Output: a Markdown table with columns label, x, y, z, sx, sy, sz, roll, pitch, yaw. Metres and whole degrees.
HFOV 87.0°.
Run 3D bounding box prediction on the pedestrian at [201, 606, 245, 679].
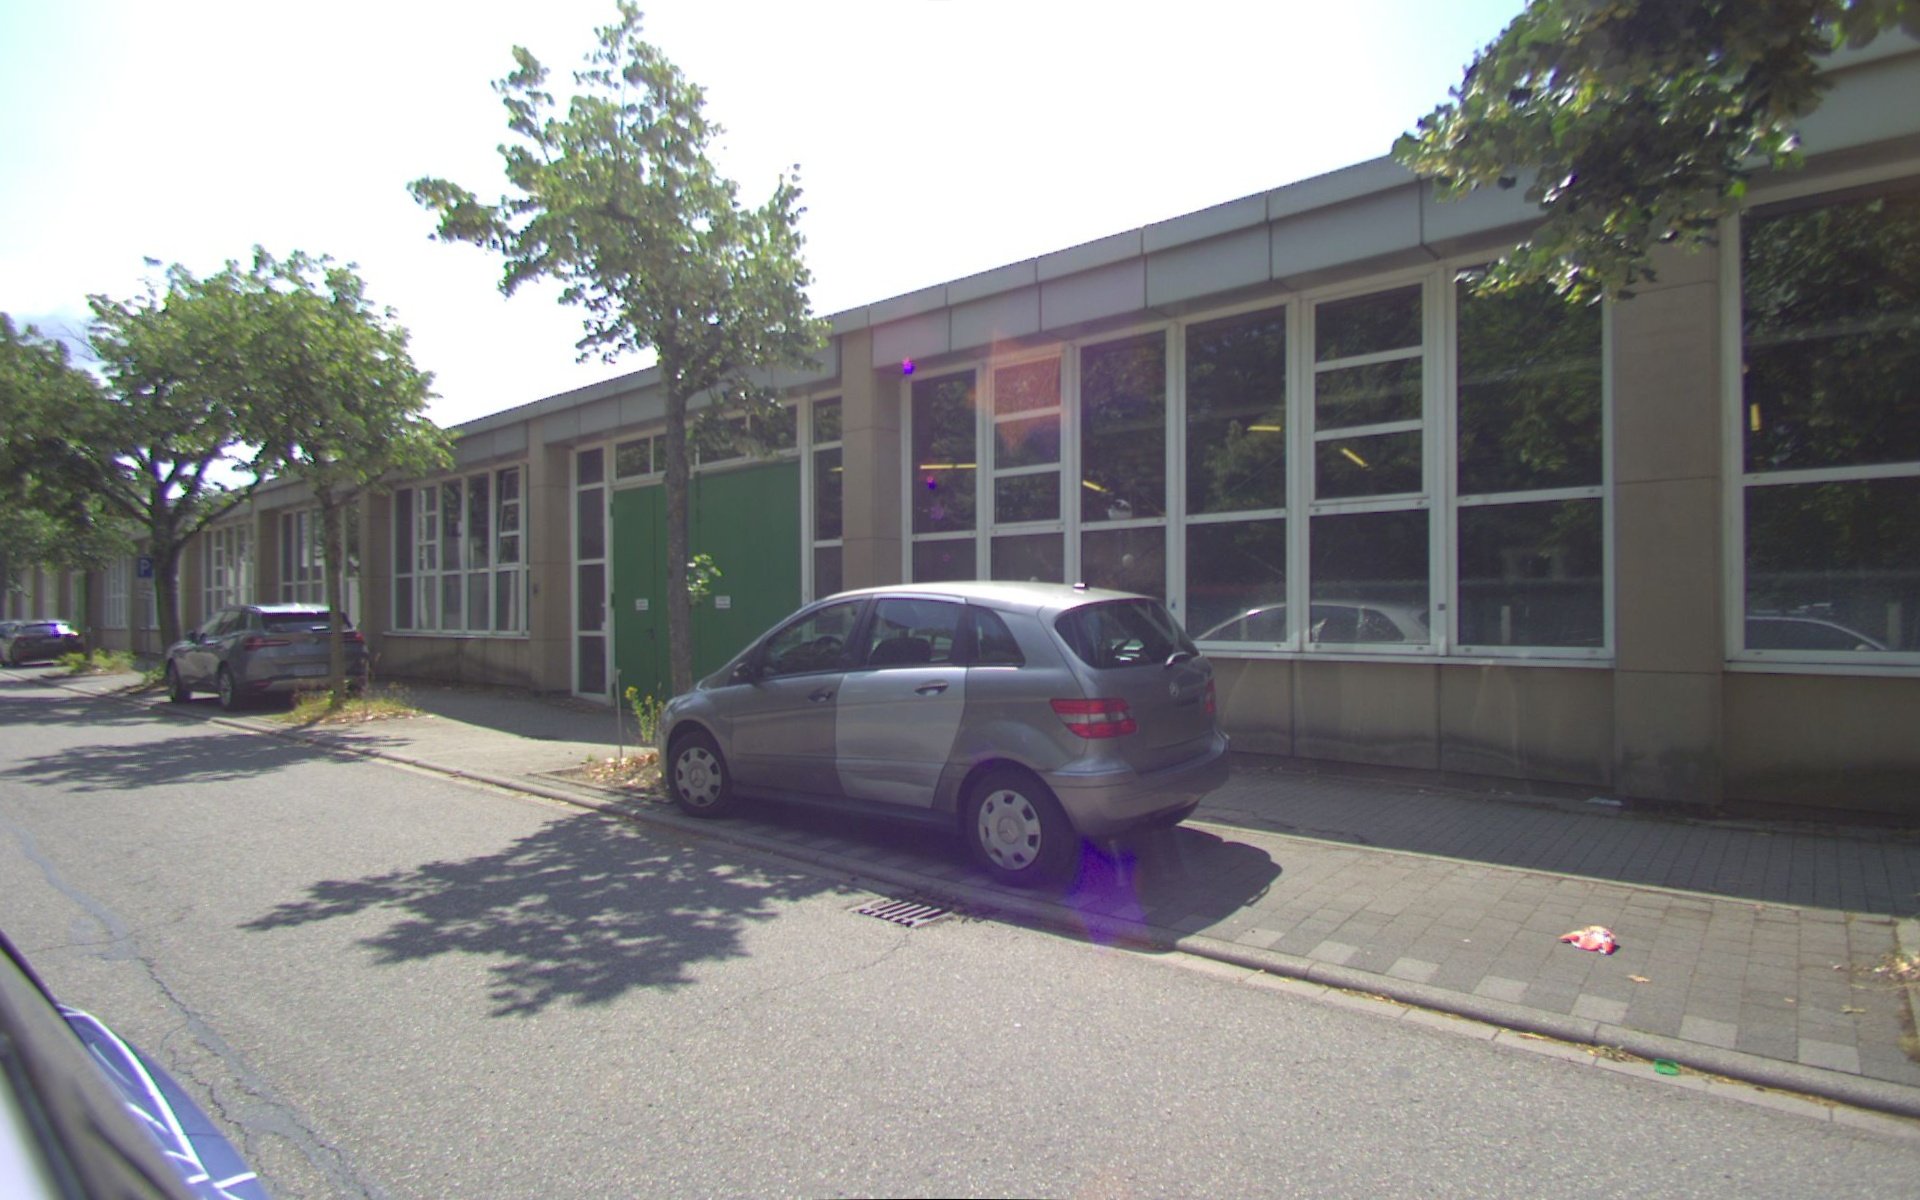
| label | x | y | z | sx | sy | sz | roll | pitch | yaw |
| --- | --- | --- | --- | --- | --- | --- | --- | --- | --- |
| pedestrian | -18.793 | 1.082 | 25.809 | 0.670 | 1.800 | 0.779 | -3 | -1 | 44 |

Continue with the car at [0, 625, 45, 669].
| label | x | y | z | sx | sy | sz | roll | pitch | yaw |
| --- | --- | --- | --- | --- | --- | --- | --- | --- | --- |
| car | -34.061 | 1.661 | 36.061 | 3.749 | 1.460 | 1.613 | -1 | 1 | 40 |

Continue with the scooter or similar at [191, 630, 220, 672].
| label | x | y | z | sx | sy | sz | roll | pitch | yaw |
| --- | --- | --- | --- | --- | --- | --- | --- | --- | --- |
| scooter or similar | -22.218 | 1.499 | 29.806 | 1.245 | 1.216 | 0.379 | -2 | 0 | 40 |

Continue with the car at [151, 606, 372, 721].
| label | x | y | z | sx | sy | sz | roll | pitch | yaw |
| --- | --- | --- | --- | --- | --- | --- | --- | --- | --- |
| car | -11.841 | 0.973 | 17.045 | 4.511 | 1.644 | 1.804 | -1 | 1 | 38 |

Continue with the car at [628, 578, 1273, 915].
| label | x | y | z | sx | sy | sz | roll | pitch | yaw |
| --- | --- | --- | --- | --- | --- | --- | --- | --- | --- |
| car | -0.257 | 0.703 | 6.729 | 4.109 | 1.568 | 1.740 | -1 | 1 | 39 |

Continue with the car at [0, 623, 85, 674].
| label | x | y | z | sx | sy | sz | roll | pitch | yaw |
| --- | --- | --- | --- | --- | --- | --- | --- | --- | --- |
| car | -29.671 | 1.542 | 32.484 | 4.286 | 1.446 | 1.708 | -2 | 0 | 40 |
